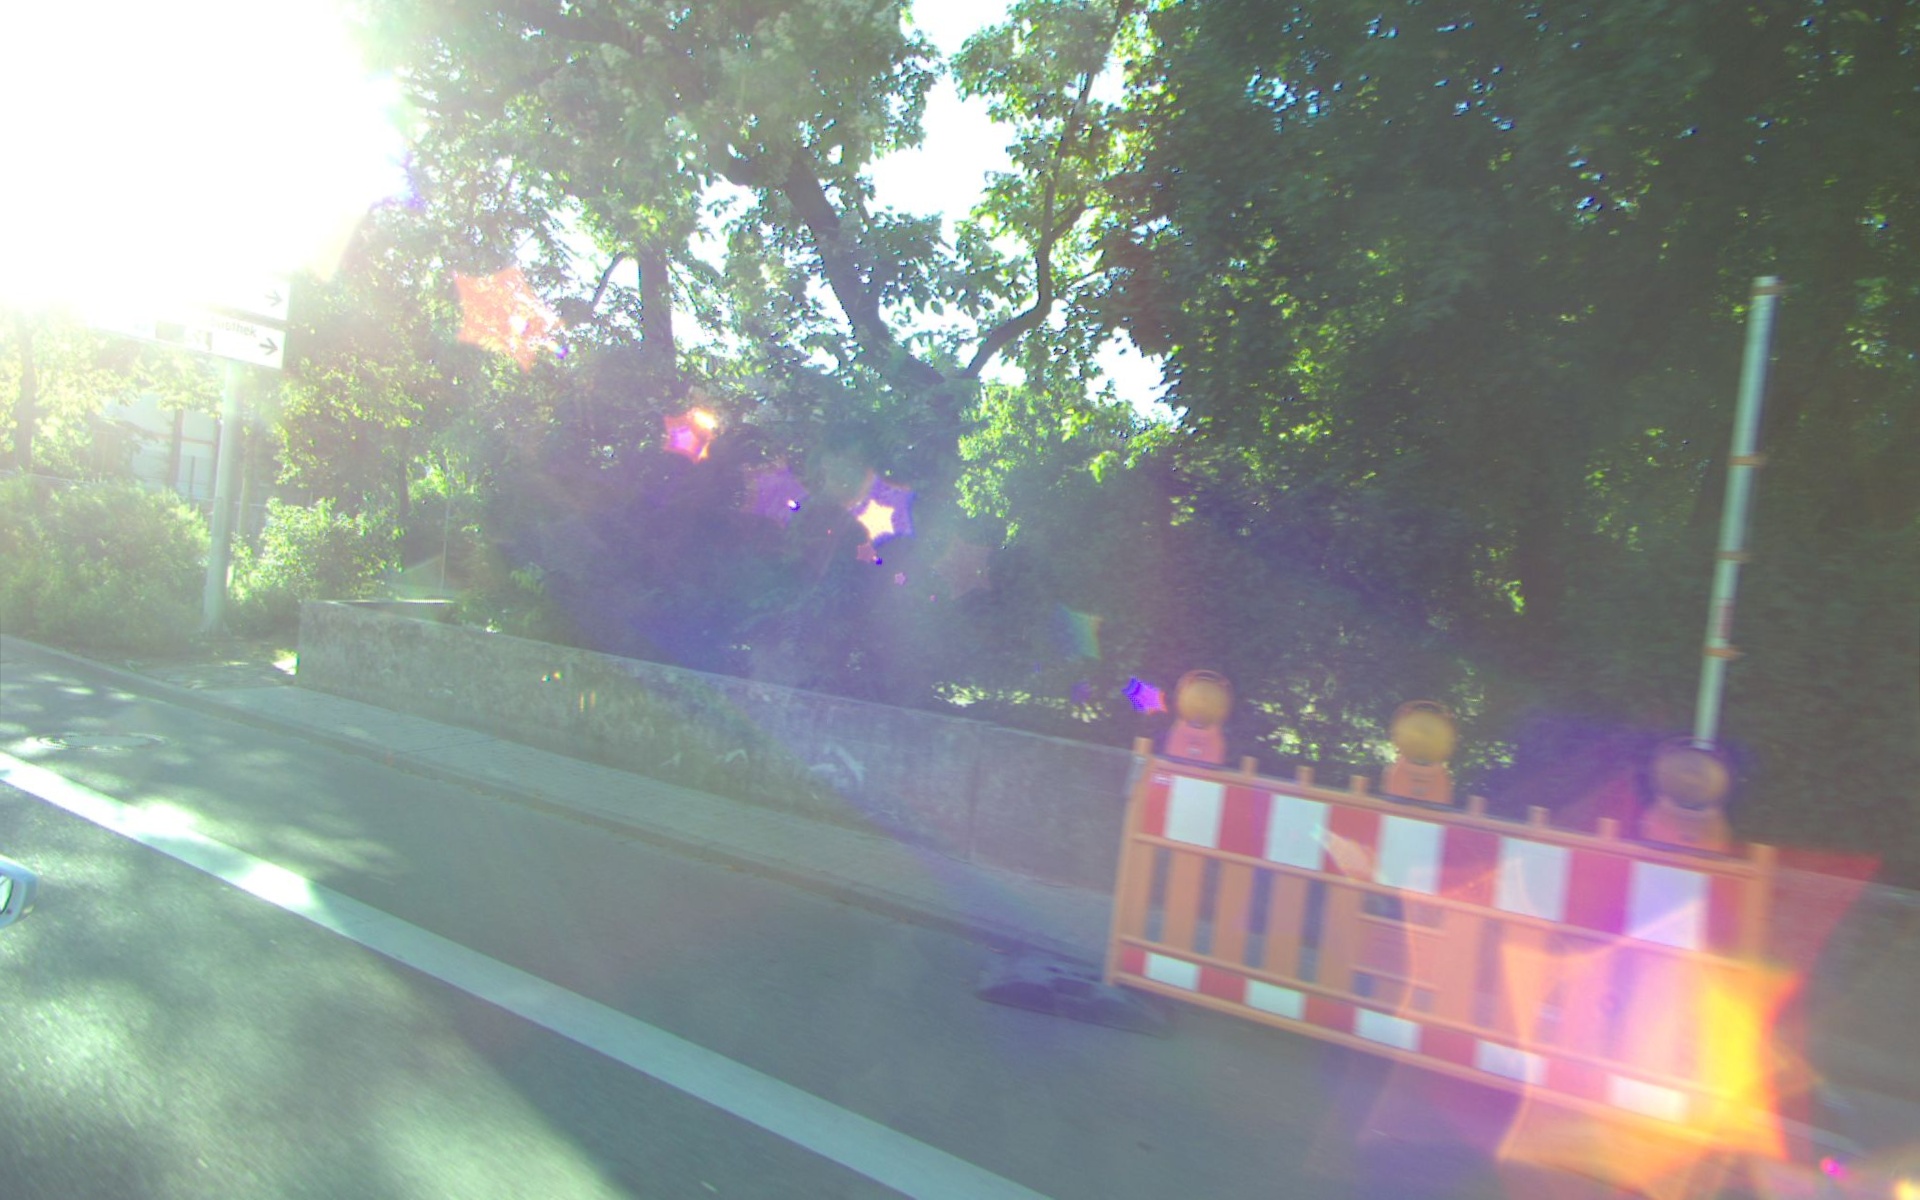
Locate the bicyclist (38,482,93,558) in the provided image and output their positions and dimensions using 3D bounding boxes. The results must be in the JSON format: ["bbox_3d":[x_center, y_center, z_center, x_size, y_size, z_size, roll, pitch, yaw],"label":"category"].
[{"bbox_3d":[-20.856,-1.863,23.443,0.887,1.635,0.585,7,1,28],"label":"bicyclist"}]
